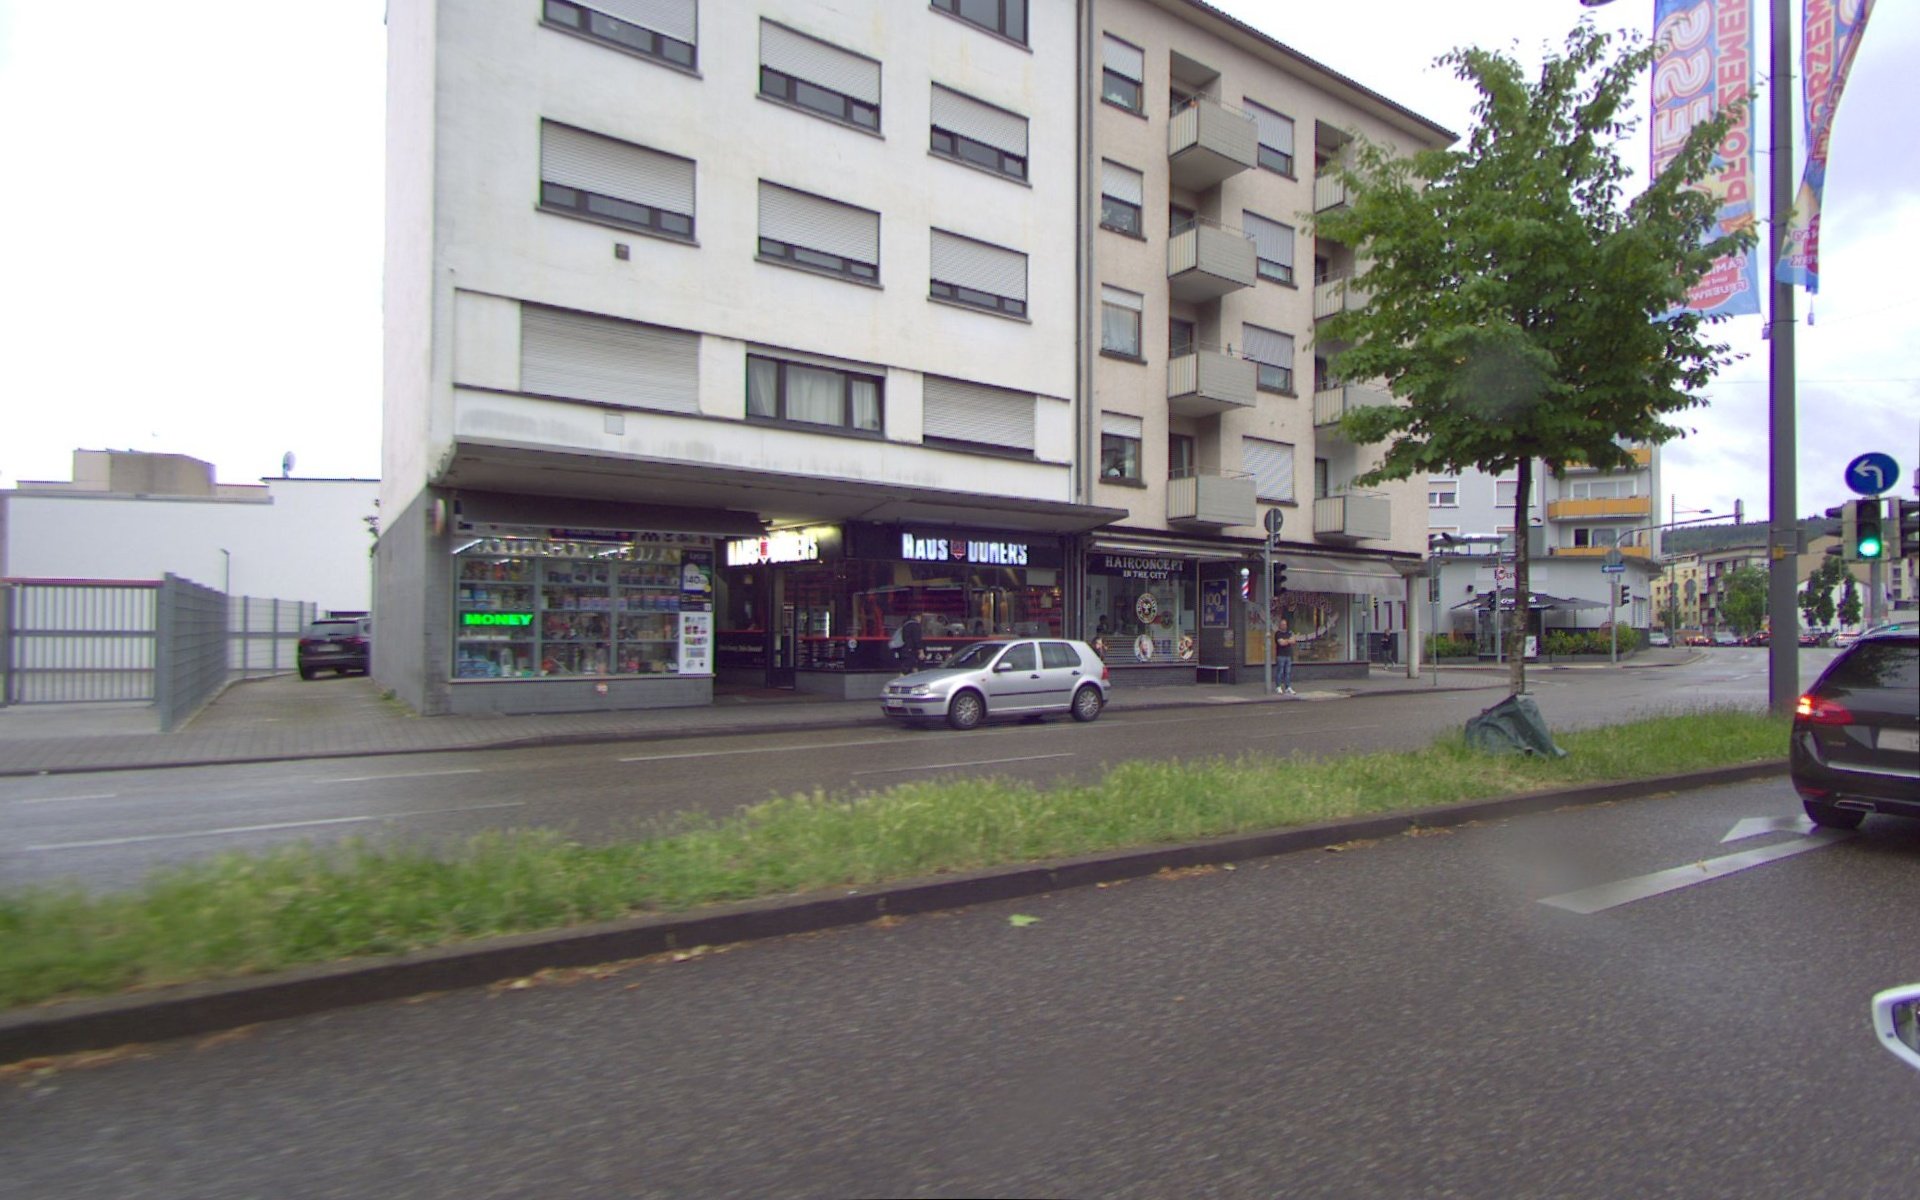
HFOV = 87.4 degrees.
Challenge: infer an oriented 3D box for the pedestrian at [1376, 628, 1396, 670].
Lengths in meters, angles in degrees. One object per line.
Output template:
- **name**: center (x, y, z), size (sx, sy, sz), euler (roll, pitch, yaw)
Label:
- **pedestrian**: center (17.259, 1.986, 40.688), size (0.520, 1.672, 0.600), euler (1, -3, 40)

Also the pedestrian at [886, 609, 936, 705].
- **pedestrian**: center (-0.941, 1.065, 19.137), size (0.653, 1.753, 0.773), euler (0, 2, -31)

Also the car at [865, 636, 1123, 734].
- **car**: center (0.627, 1.349, 16.733), size (4.110, 1.410, 1.666), euler (1, -4, -35)

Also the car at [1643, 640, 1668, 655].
- **car**: center (65.983, 4.504, 95.366), size (1.704, 1.384, 4.102), euler (-2, -4, 32)

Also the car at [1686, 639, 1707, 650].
- **car**: center (98.878, 5.961, 134.902), size (1.924, 1.415, 3.859), euler (-1, -1, 30)

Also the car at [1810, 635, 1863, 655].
- **car**: center (70.181, 3.597, 80.494), size (1.637, 1.415, 3.869), euler (-1, -1, 15)

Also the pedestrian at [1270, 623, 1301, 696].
- **pedestrian**: center (7.955, 1.446, 24.576), size (0.518, 1.754, 0.450), euler (0, 2, -30)

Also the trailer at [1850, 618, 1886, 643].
- **trailer**: center (106.658, 3.607, 118.072), size (2.098, 2.751, 5.378), euler (-4, -4, 32)

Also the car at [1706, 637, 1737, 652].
- **car**: center (72.445, 4.247, 95.585), size (1.707, 1.458, 4.406), euler (-2, -3, 29)

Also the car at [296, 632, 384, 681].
- **car**: center (-17.761, 1.574, 28.915), size (1.684, 1.283, 3.747), euler (1, -2, -25)

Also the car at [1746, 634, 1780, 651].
- **car**: center (75.491, 3.979, 94.484), size (1.639, 1.415, 3.863), euler (-1, -1, 26)

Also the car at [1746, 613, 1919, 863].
- **car**: center (7.469, 0.860, 6.965), size (4.347, 1.453, 1.790), euler (2, -1, -31)
